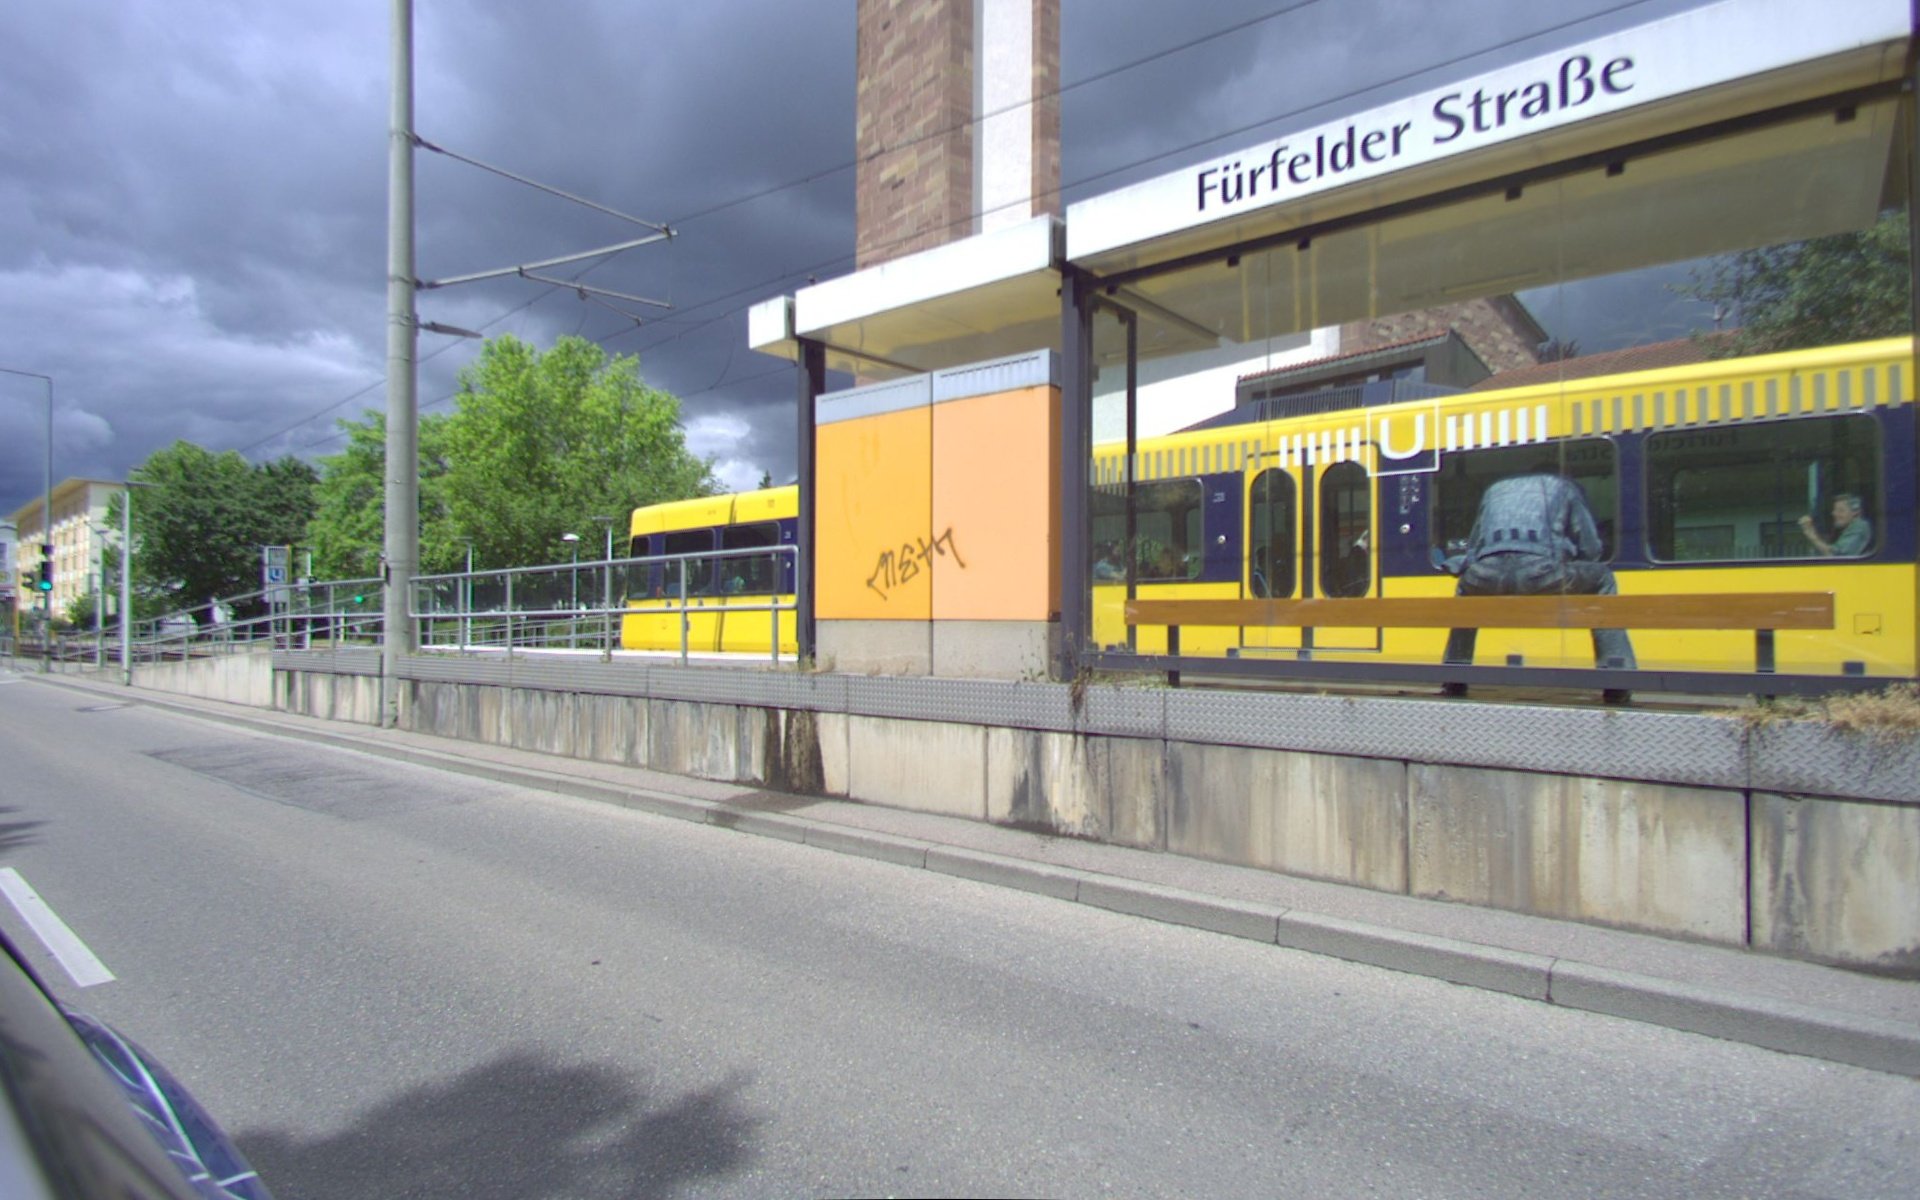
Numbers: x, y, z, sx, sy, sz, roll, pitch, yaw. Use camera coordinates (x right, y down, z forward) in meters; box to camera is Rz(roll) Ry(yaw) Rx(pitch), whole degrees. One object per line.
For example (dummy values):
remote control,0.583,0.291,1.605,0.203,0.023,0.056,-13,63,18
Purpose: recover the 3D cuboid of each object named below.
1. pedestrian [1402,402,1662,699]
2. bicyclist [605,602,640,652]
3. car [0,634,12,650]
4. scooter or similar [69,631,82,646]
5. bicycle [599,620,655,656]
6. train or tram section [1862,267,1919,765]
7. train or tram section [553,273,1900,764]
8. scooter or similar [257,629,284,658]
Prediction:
pedestrian,2.633,-0.177,4.664,0.918,1.196,0.788,-2,-3,39
bicyclist,-9.869,0.791,29.610,0.790,1.440,0.627,-2,0,40
car,-79.514,3.309,81.799,1.632,1.303,4.080,-2,-5,43
scooter or similar,-66.501,2.902,76.055,0.820,1.123,0.598,-1,-1,38
bicycle,-9.701,1.085,29.473,1.927,1.001,0.631,-1,0,40
train or tram section,14.849,-0.792,2.249,18.981,3.491,3.077,-1,0,40
train or tram section,0.425,-0.428,14.455,18.810,3.491,3.077,-1,0,40
scooter or similar,-30.882,1.947,45.328,1.400,1.246,0.643,-3,-1,41
